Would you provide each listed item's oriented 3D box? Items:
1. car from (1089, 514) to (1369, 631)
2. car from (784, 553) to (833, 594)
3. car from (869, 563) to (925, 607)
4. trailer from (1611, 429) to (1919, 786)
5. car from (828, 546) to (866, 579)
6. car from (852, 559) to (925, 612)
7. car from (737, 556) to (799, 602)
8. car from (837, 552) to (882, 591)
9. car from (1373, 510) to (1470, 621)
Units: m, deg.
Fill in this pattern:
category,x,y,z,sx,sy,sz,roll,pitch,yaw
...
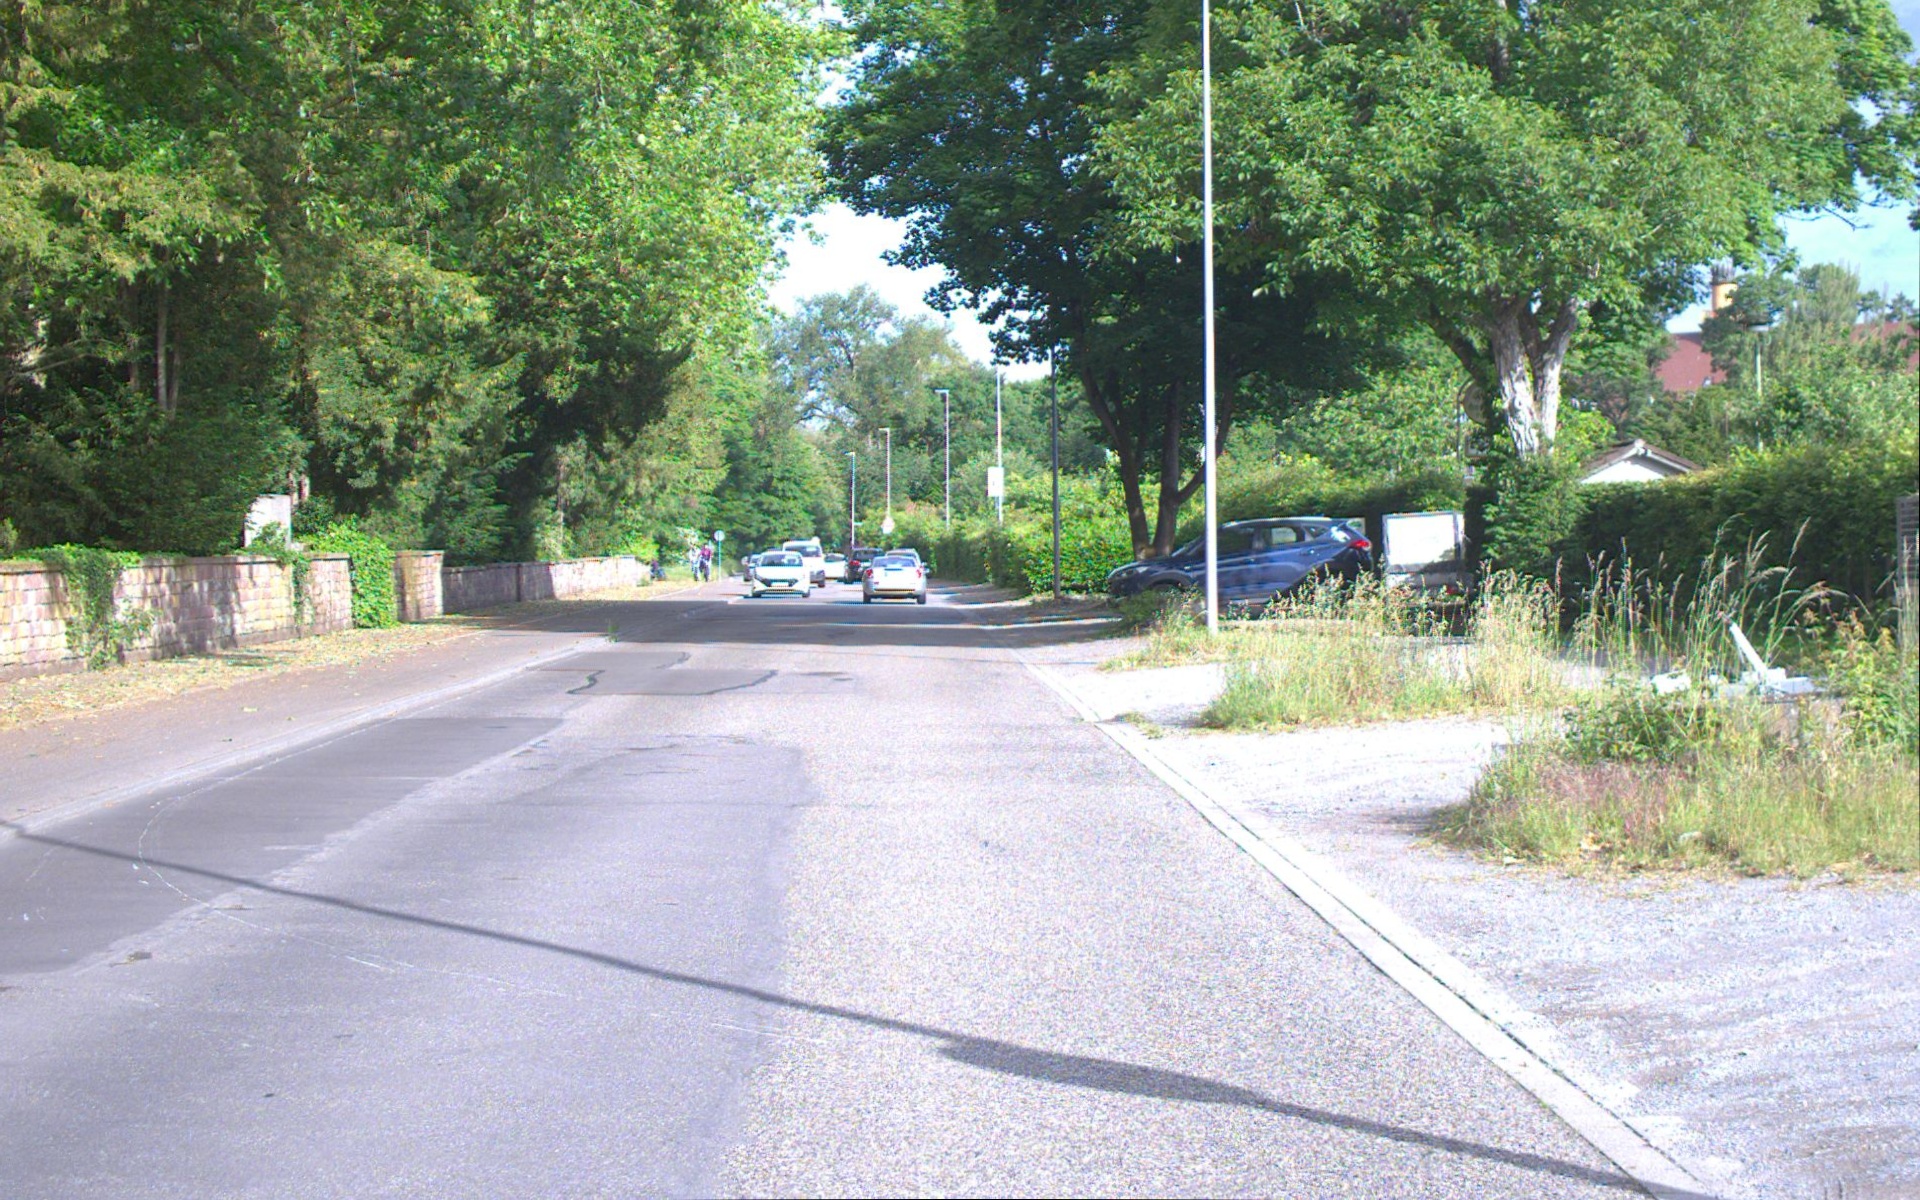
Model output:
category,x,y,z,sx,sy,sz,roll,pitch,yaw
car,4.443,-0.470,57.208,4.403,1.641,2.000,-4,1,0
car,-5.991,-1.054,136.223,1.886,1.559,4.055,-1,1,-2
car,-2.242,-0.551,121.178,1.886,1.460,4.055,-1,1,-2
trailer,5.844,-0.024,18.940,4.152,1.828,1.916,-2,1,3
car,-5.748,-1.909,174.749,1.886,1.608,4.055,-1,1,-2
car,-1.959,-0.410,93.666,1.886,1.367,4.055,-1,1,-2
car,-5.982,-0.662,106.917,1.886,1.367,4.055,-1,1,-4
car,-4.327,-1.251,147.802,1.886,1.608,4.055,-1,1,-2
car,7.466,-0.590,55.404,1.351,1.627,4.110,-3,1,9
